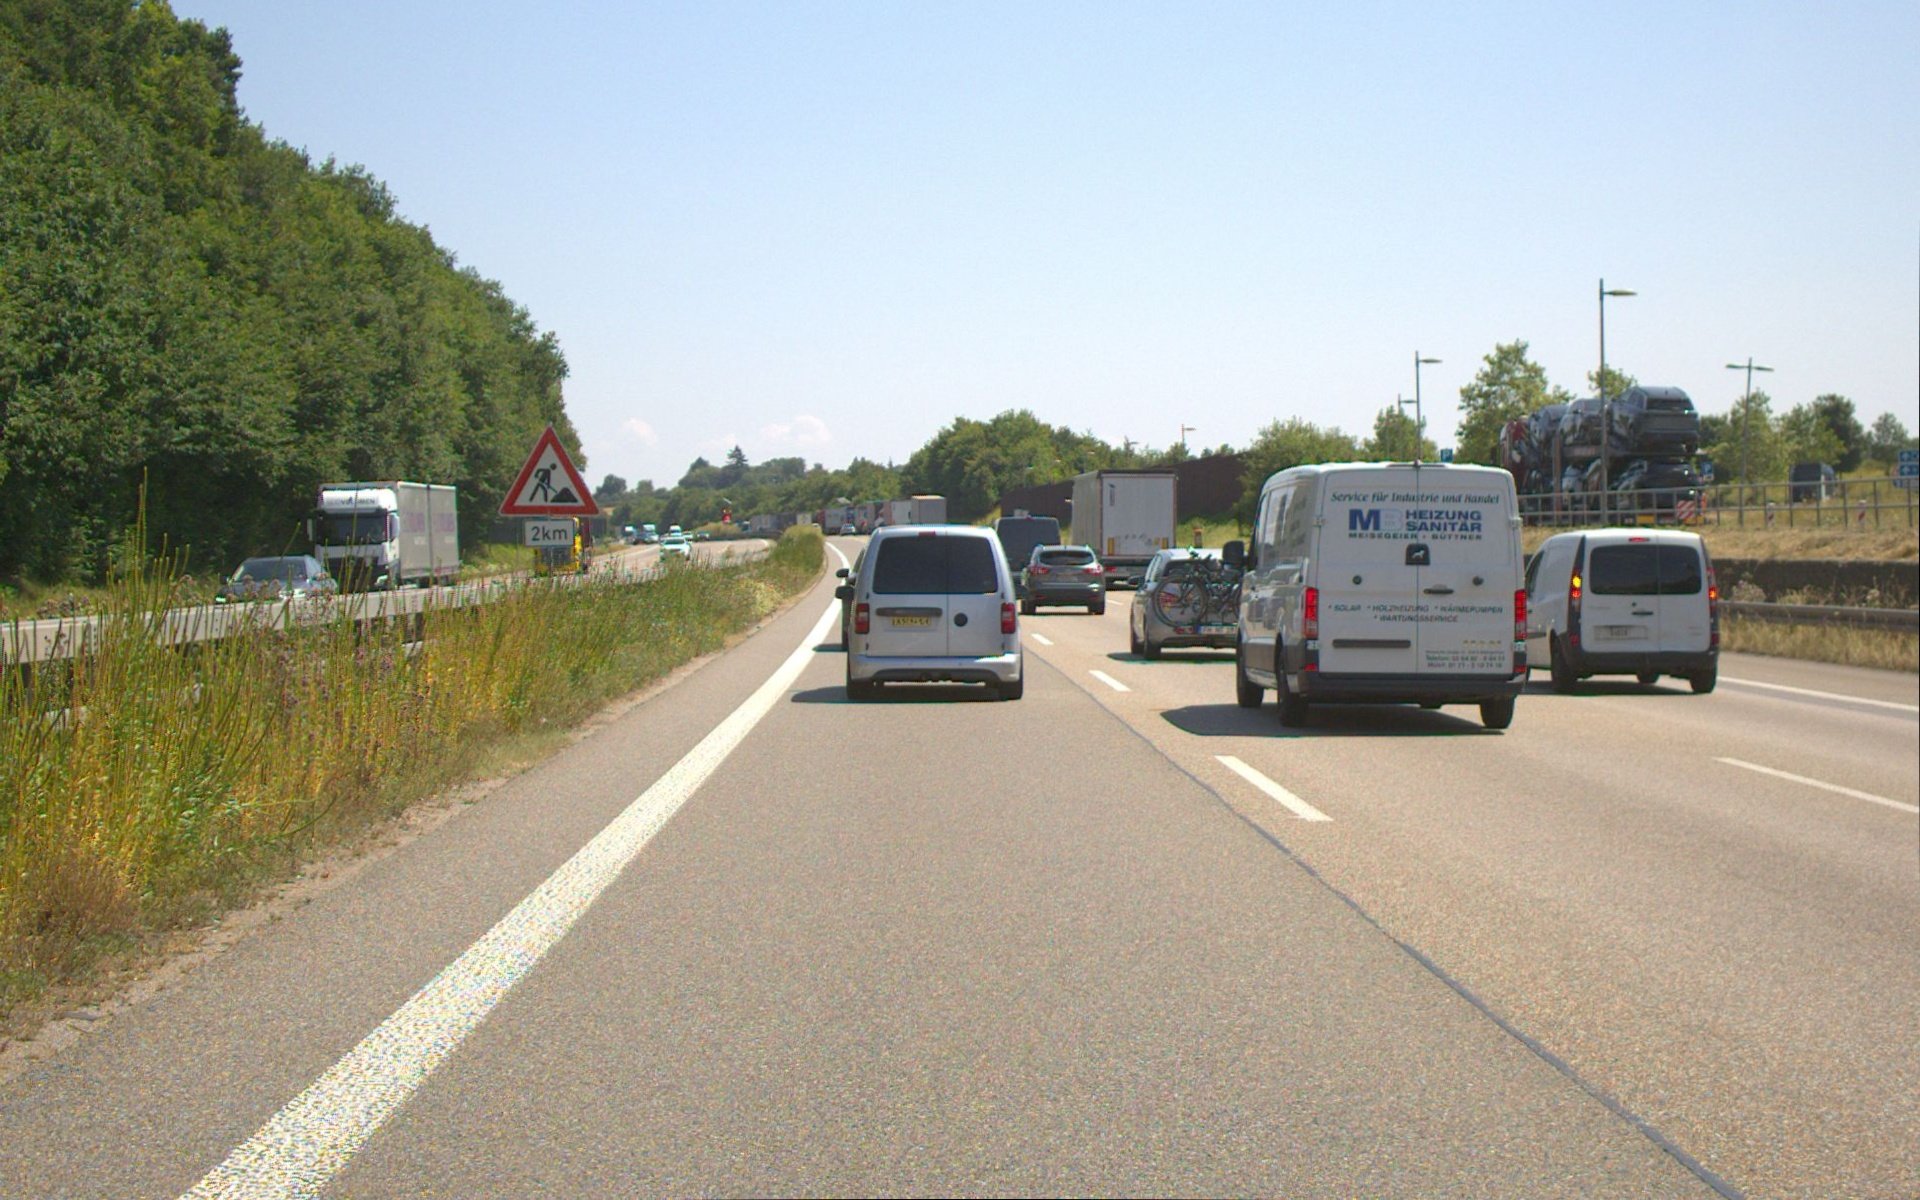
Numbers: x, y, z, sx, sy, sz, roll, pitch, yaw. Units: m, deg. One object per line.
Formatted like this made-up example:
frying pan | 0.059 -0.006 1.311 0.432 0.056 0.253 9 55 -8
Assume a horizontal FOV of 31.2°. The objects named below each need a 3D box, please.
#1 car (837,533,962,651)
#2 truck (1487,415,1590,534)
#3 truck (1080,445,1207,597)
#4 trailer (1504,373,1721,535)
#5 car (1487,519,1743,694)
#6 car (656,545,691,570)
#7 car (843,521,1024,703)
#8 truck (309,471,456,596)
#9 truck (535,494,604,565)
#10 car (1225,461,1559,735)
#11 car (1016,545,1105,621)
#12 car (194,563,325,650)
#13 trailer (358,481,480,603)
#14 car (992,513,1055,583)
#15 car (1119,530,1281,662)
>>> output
car | -0.875 -0.136 52.012 1.745 1.695 4.088 -1 1 1
truck | 19.249 -4.139 114.505 2.602 3.814 4.000 1 0 -1
truck | 6.311 -2.689 120.334 3.788 4.982 12.518 1 0 0
trailer | 19.466 -4.196 104.152 2.605 4.243 18.423 1 0 -1
car | 7.327 0.051 38.864 1.950 1.831 4.178 -1 1 -2
car | -19.594 -2.896 234.992 1.993 1.665 5.612 -2 1 -1
car | -0.245 0.103 35.833 1.745 1.758 4.088 -1 1 0
truck | -19.369 -2.223 116.021 3.453 3.980 11.125 -1 1 -2
truck | -21.282 -3.793 187.963 2.782 3.726 11.159 1 0 -2
car | 3.782 -0.046 31.126 2.181 2.246 5.364 1 1 -2
car | 2.270 -0.403 78.671 1.902 1.666 4.088 -1 1 0
car | -14.371 0.097 70.744 1.724 1.650 4.861 -2 1 -1
trailer | -19.681 -2.074 125.524 3.453 4.265 7.971 1 0 -2
car | 1.745 -1.430 96.114 1.674 1.885 4.088 -1 1 0
car | 3.308 -0.075 48.045 1.976 1.727 4.088 -1 1 0
